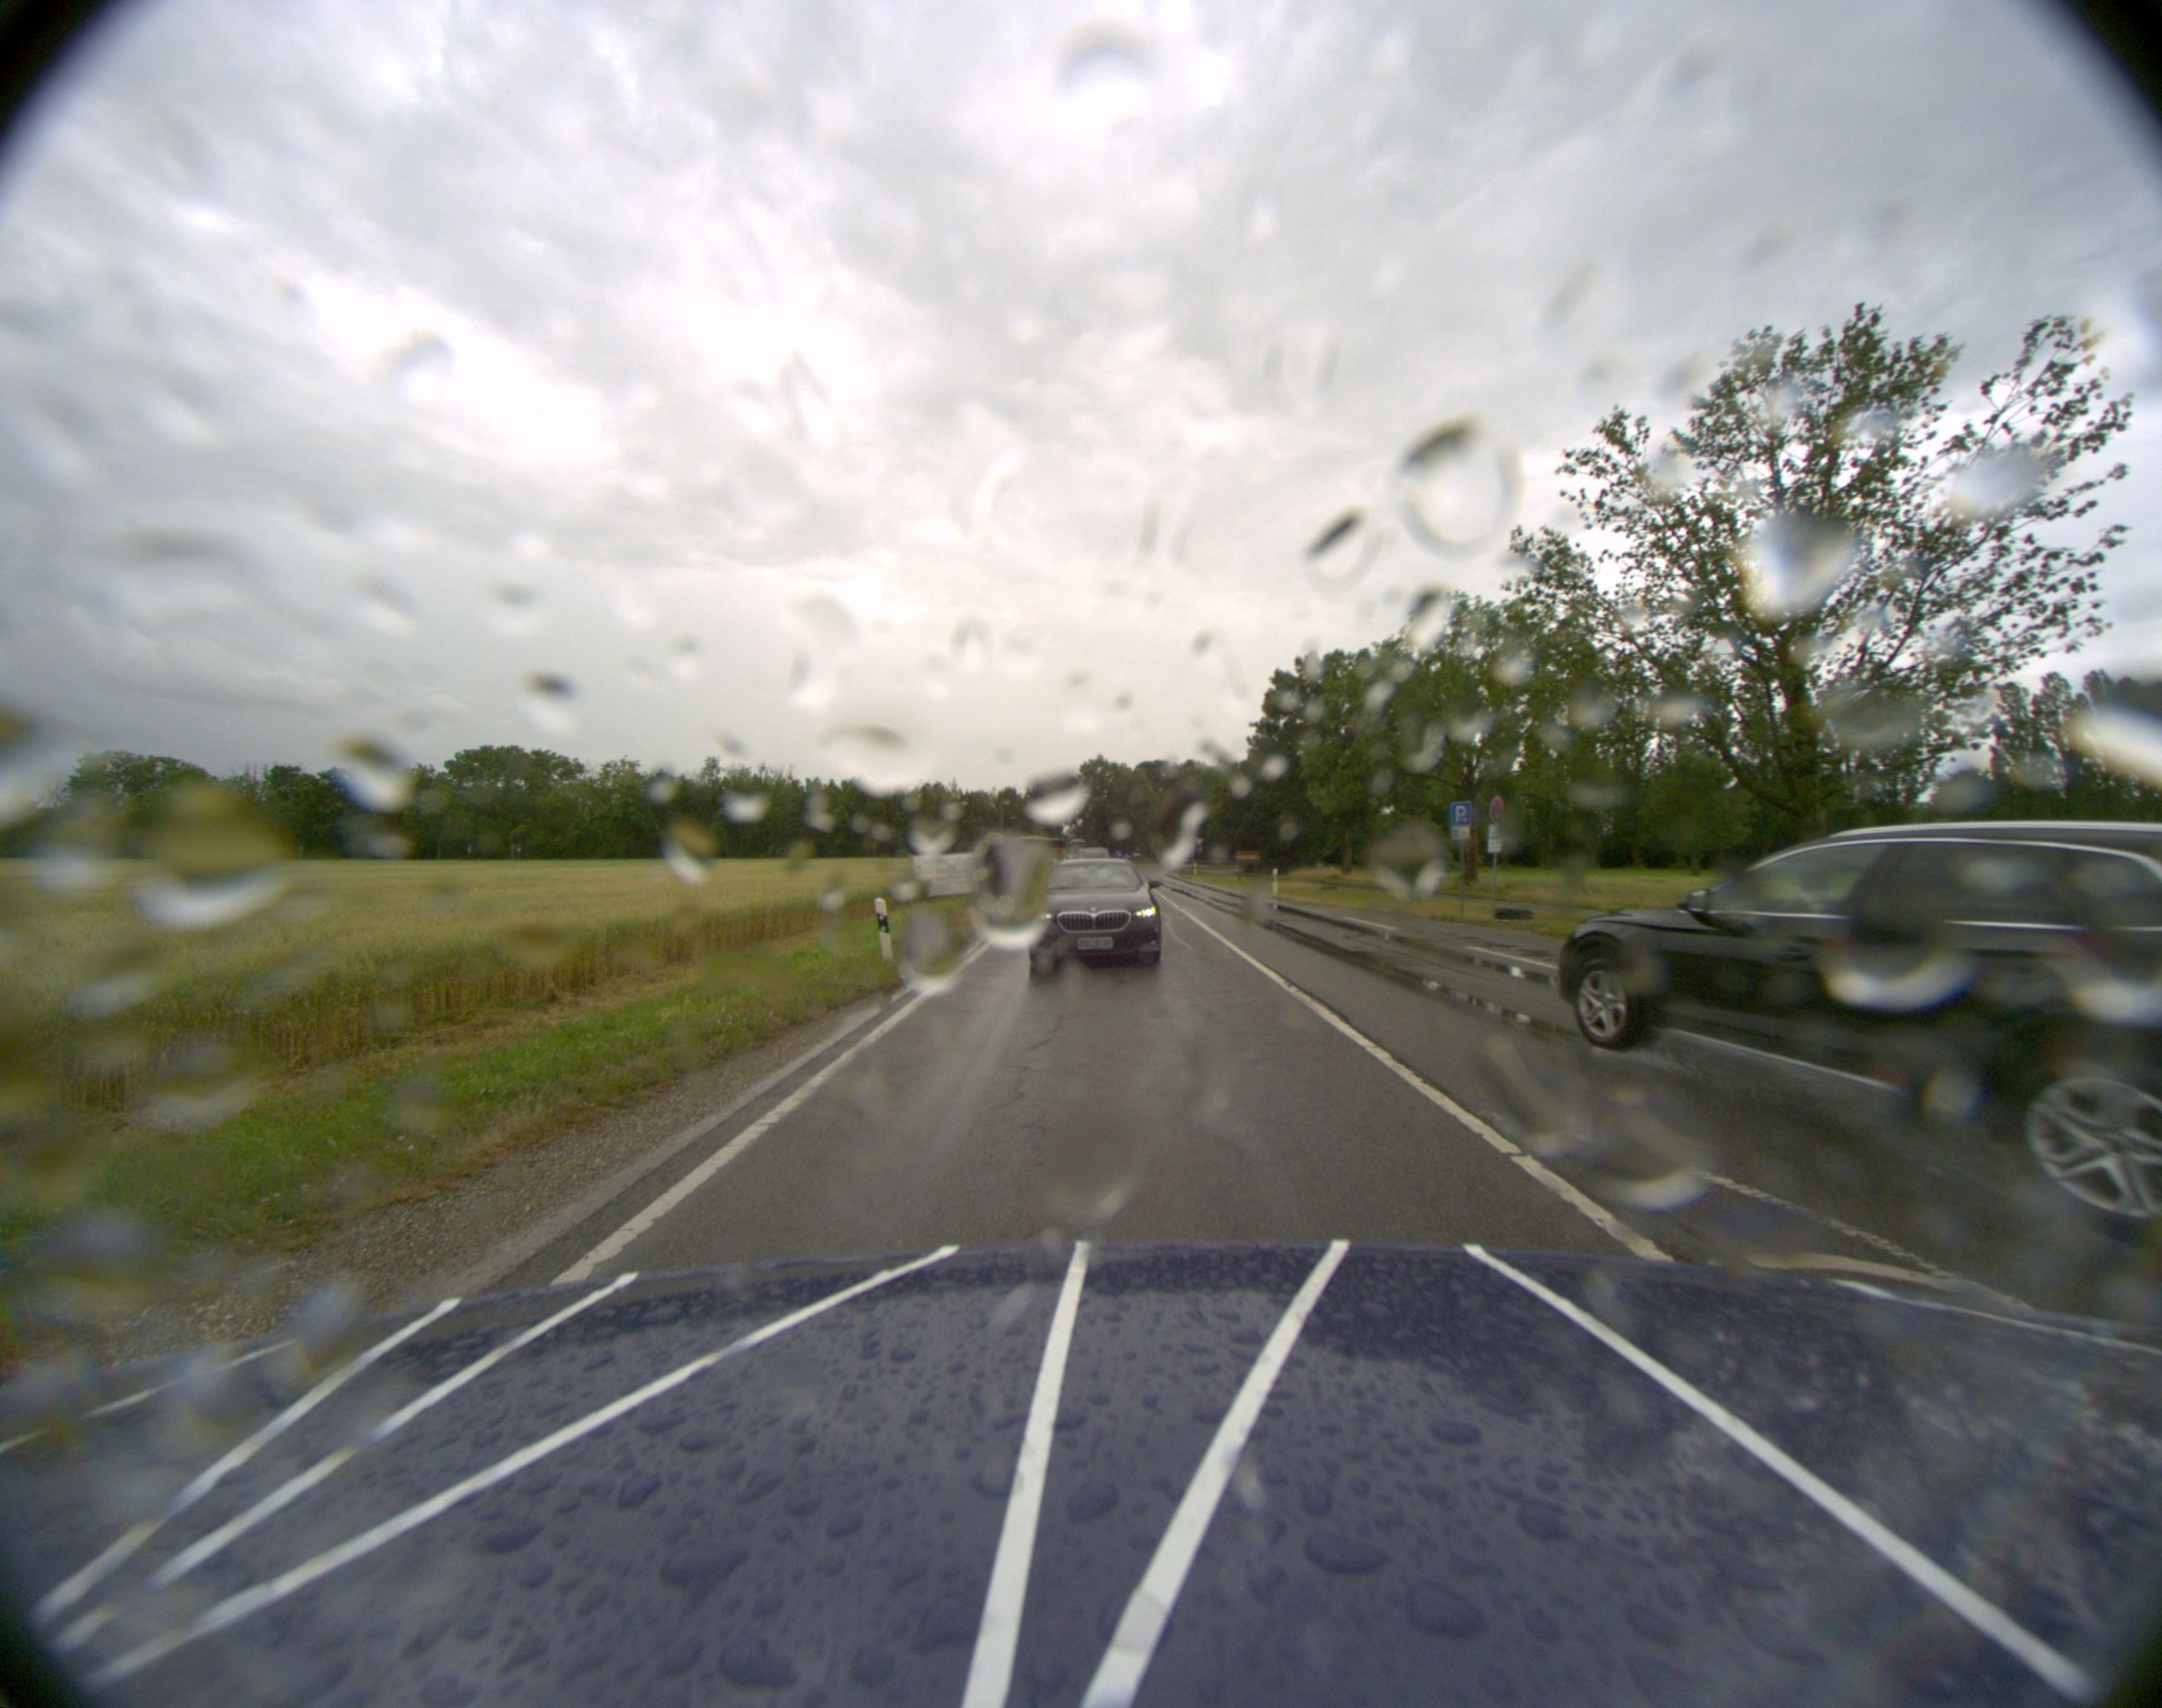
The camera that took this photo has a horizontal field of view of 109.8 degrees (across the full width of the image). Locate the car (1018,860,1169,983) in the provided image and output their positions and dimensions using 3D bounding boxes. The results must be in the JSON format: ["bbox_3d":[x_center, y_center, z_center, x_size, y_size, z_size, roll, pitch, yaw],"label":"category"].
[{"bbox_3d":[0.215,0.876,11.742,1.891,1.484,4.035,-1,0,2],"label":"car"}]

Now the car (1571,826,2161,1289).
[{"bbox_3d":[4.789,0.748,3.720,1.921,1.622,4.357,3,1,1],"label":"car"}]

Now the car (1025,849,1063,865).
[{"bbox_3d":[-3.807,0.267,76.896,1.896,1.522,4.491,-2,1,-32],"label":"car"}]

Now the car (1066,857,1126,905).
[{"bbox_3d":[0.557,0.882,26.609,1.891,1.482,4.192,-2,0,2],"label":"car"}]

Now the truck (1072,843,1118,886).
[{"bbox_3d":[0.663,0.536,40.927,2.076,2.049,5.768,-3,0,-2],"label":"truck"}]

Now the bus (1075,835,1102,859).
[{"bbox_3d":[1.329,-1.094,118.926,2.854,3.417,14.300,1,1,6],"label":"bus"}]

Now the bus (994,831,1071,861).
[{"bbox_3d":[-6.028,-0.998,98.441,2.990,3.665,14.321,1,1,28],"label":"bus"}]

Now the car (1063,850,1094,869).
[{"bbox_3d":[-0.257,0.462,67.661,1.893,1.522,4.498,-1,0,-10],"label":"car"}]
